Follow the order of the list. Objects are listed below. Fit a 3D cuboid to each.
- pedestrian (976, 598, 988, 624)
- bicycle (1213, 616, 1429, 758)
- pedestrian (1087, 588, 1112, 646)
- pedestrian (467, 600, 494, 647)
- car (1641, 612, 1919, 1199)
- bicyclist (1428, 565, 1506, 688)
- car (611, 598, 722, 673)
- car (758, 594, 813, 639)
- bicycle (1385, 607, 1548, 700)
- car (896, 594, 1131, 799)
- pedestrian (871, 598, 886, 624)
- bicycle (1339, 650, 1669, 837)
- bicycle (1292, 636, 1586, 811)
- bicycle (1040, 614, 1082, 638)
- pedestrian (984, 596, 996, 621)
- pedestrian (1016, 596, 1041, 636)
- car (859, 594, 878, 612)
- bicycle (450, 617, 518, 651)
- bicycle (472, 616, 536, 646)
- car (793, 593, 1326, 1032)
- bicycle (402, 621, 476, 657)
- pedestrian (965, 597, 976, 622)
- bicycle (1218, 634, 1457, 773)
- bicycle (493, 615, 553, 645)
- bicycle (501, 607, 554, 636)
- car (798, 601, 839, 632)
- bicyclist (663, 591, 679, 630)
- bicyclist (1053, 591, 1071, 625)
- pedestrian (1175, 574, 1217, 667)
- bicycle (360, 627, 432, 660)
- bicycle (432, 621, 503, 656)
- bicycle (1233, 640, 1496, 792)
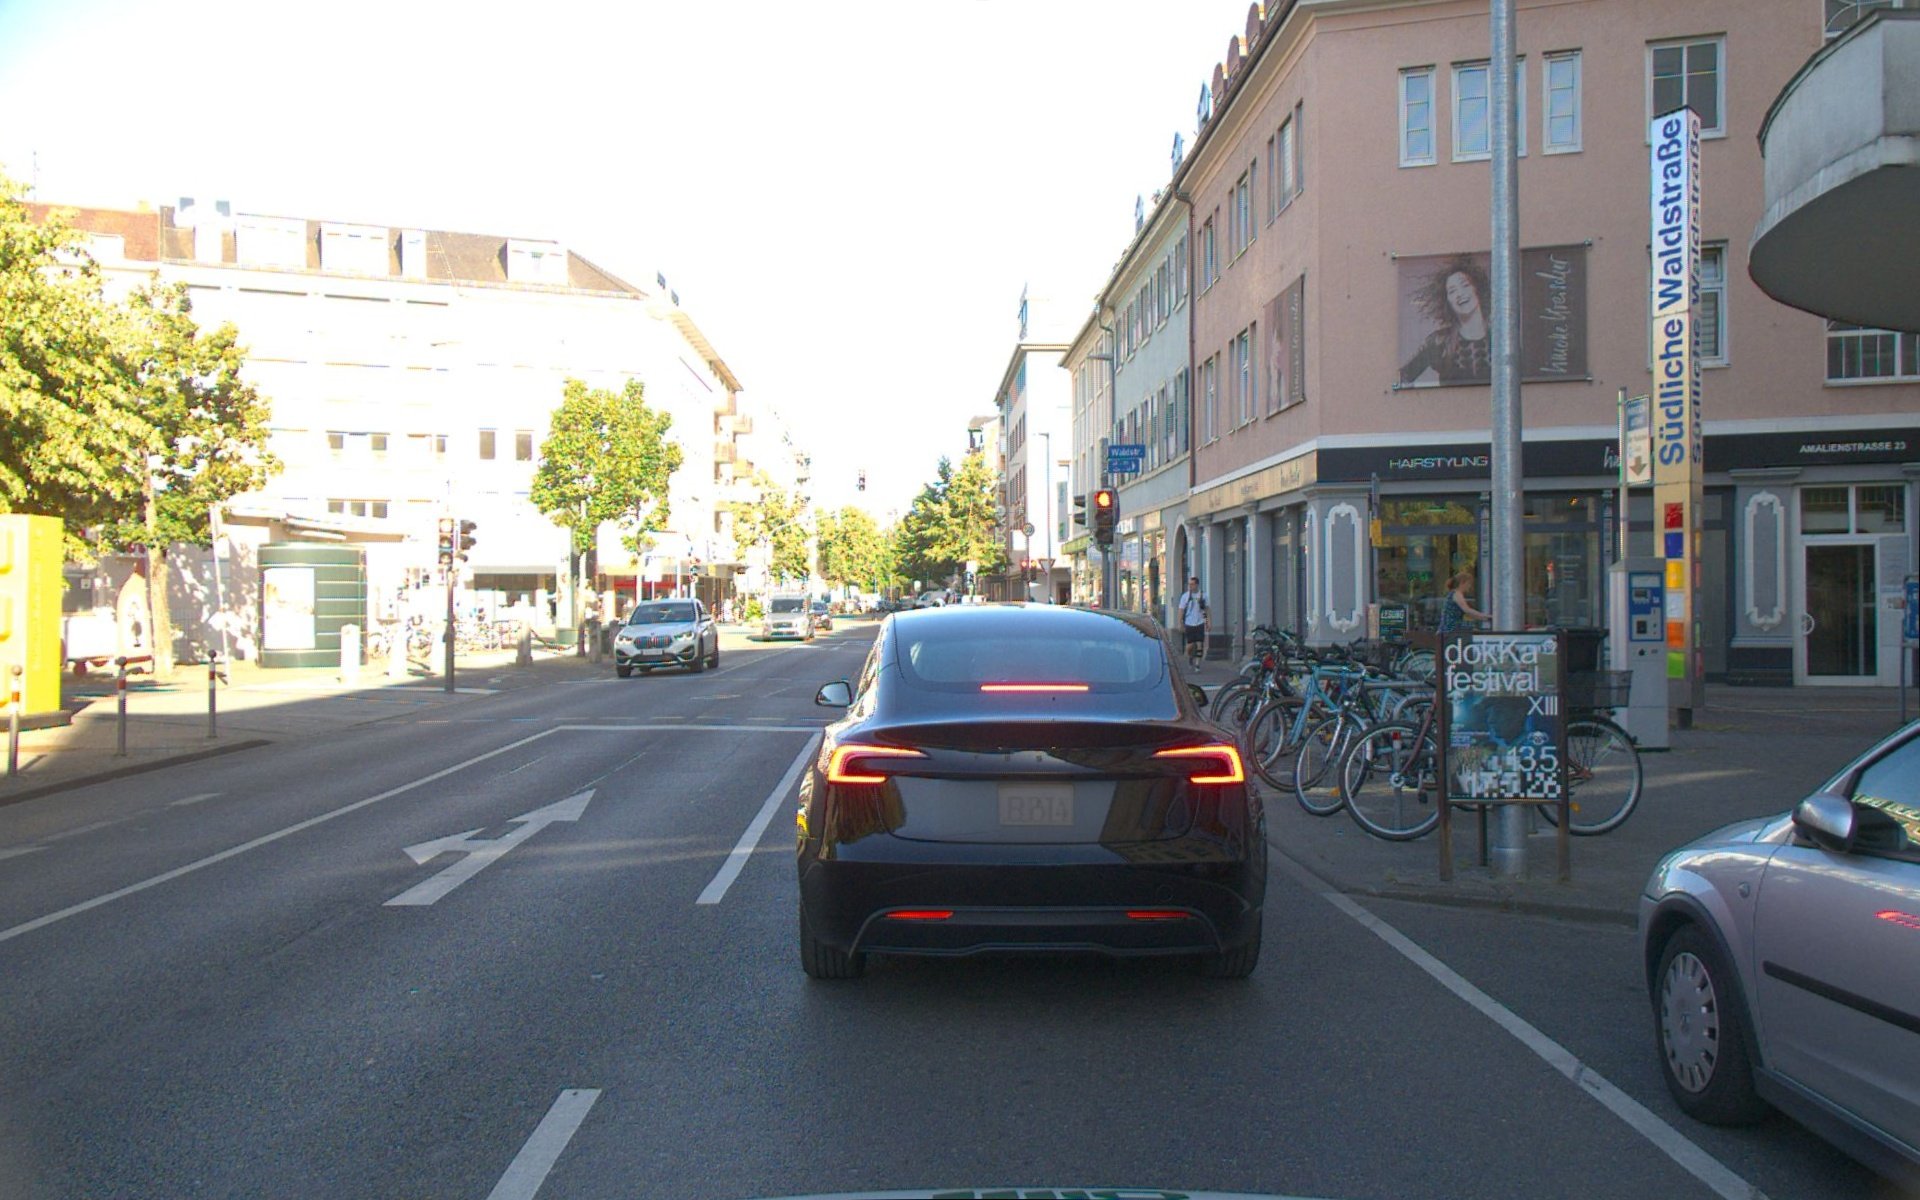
[{"bbox_3d":[1.267,0.639,95.062,0.516,1.447,0.474,1,-1,-31],"label":"pedestrian"},{"bbox_3d":[3.199,0.765,14.754,1.789,1.189,0.506,-2,-1,5],"label":"bicycle"},{"bbox_3d":[4.291,0.524,50.954,0.692,1.773,0.540,0,0,-1],"label":"pedestrian"},{"bbox_3d":[-21.124,1.034,72.893,1.041,2.049,1.049,1,-1,-20],"label":"pedestrian"},{"bbox_3d":[2.912,0.742,3.502,1.515,1.415,3.476,0,0,0],"label":"car"},{"bbox_3d":[6.369,0.324,20.794,0.871,1.508,0.702,0,0,12],"label":"bicyclist"},{"bbox_3d":[-6.335,0.742,36.070,1.752,1.485,3.756,-2,0,-1],"label":"car"},{"bbox_3d":[-6.772,0.620,64.558,1.751,1.675,4.401,0,0,-1],"label":"car"},{"bbox_3d":[6.339,0.660,20.787,1.892,1.137,0.709,0,-1,12],"label":"bicycle"},{"bbox_3d":[0.316,0.686,13.757,1.683,1.450,3.755,0,0,-2],"label":"car"},{"bbox_3d":[-5.345,0.724,108.402,0.708,1.725,0.843,0,0,-28],"label":"pedestrian"},{"bbox_3d":[3.268,0.864,10.023,1.833,1.056,0.353,-2,-1,6],"label":"bicycle"},{"bbox_3d":[3.219,0.828,11.202,1.834,1.106,0.414,-2,-1,3],"label":"bicycle"},{"bbox_3d":[4.349,1.116,71.394,1.756,1.024,0.469,1,-1,-17],"label":"bicycle"},{"bbox_3d":[1.715,0.500,95.874,0.516,1.447,0.474,1,-1,-31],"label":"pedestrian"},{"bbox_3d":[2.863,0.667,69.319,0.742,1.660,0.951,1,-1,-18],"label":"pedestrian"},{"bbox_3d":[-10.357,0.356,186.895,1.953,2.049,3.999,1,0,-1],"label":"car"},{"bbox_3d":[-14.250,1.016,49.554,1.826,0.950,0.606,1,0,-2],"label":"bicycle"},{"bbox_3d":[-14.329,0.973,51.966,1.826,0.950,0.606,0,0,-2],"label":"bicycle"},{"bbox_3d":[0.310,0.721,7.552,1.785,1.467,3.999,0,0,-1],"label":"car"},{"bbox_3d":[-14.163,1.046,44.987,1.826,0.950,0.606,0,0,-2],"label":"bicycle"},{"bbox_3d":[0.609,0.531,95.764,0.467,1.442,0.516,1,-1,-32],"label":"pedestrian"},{"bbox_3d":[3.092,0.847,13.669,1.833,1.056,0.548,-2,-1,5],"label":"bicycle"},{"bbox_3d":[-14.364,0.982,54.414,1.826,0.950,0.606,0,0,-2],"label":"bicycle"},{"bbox_3d":[-20.301,1.022,77.652,2.334,1.318,0.509,1,-1,-27],"label":"bicycle"},{"bbox_3d":[-6.928,0.798,81.323,1.680,1.471,3.844,1,0,-1],"label":"car"},{"bbox_3d":[-11.517,0.405,65.894,0.516,1.530,0.472,1,-1,-25],"label":"bicyclist"},{"bbox_3d":[4.396,0.342,71.414,0.659,1.420,0.460,1,-1,-17],"label":"bicyclist"},{"bbox_3d":[4.693,0.405,32.899,0.735,1.796,0.837,-1,-1,3],"label":"pedestrian"},{"bbox_3d":[-14.449,1.110,42.402,1.612,0.806,0.606,1,0,-5],"label":"bicycle"},{"bbox_3d":[-14.014,1.085,47.083,1.826,0.950,0.606,1,0,-2],"label":"bicycle"},{"bbox_3d":[3.026,0.863,12.483,1.834,1.056,0.533,-2,-1,3],"label":"bicycle"}]
